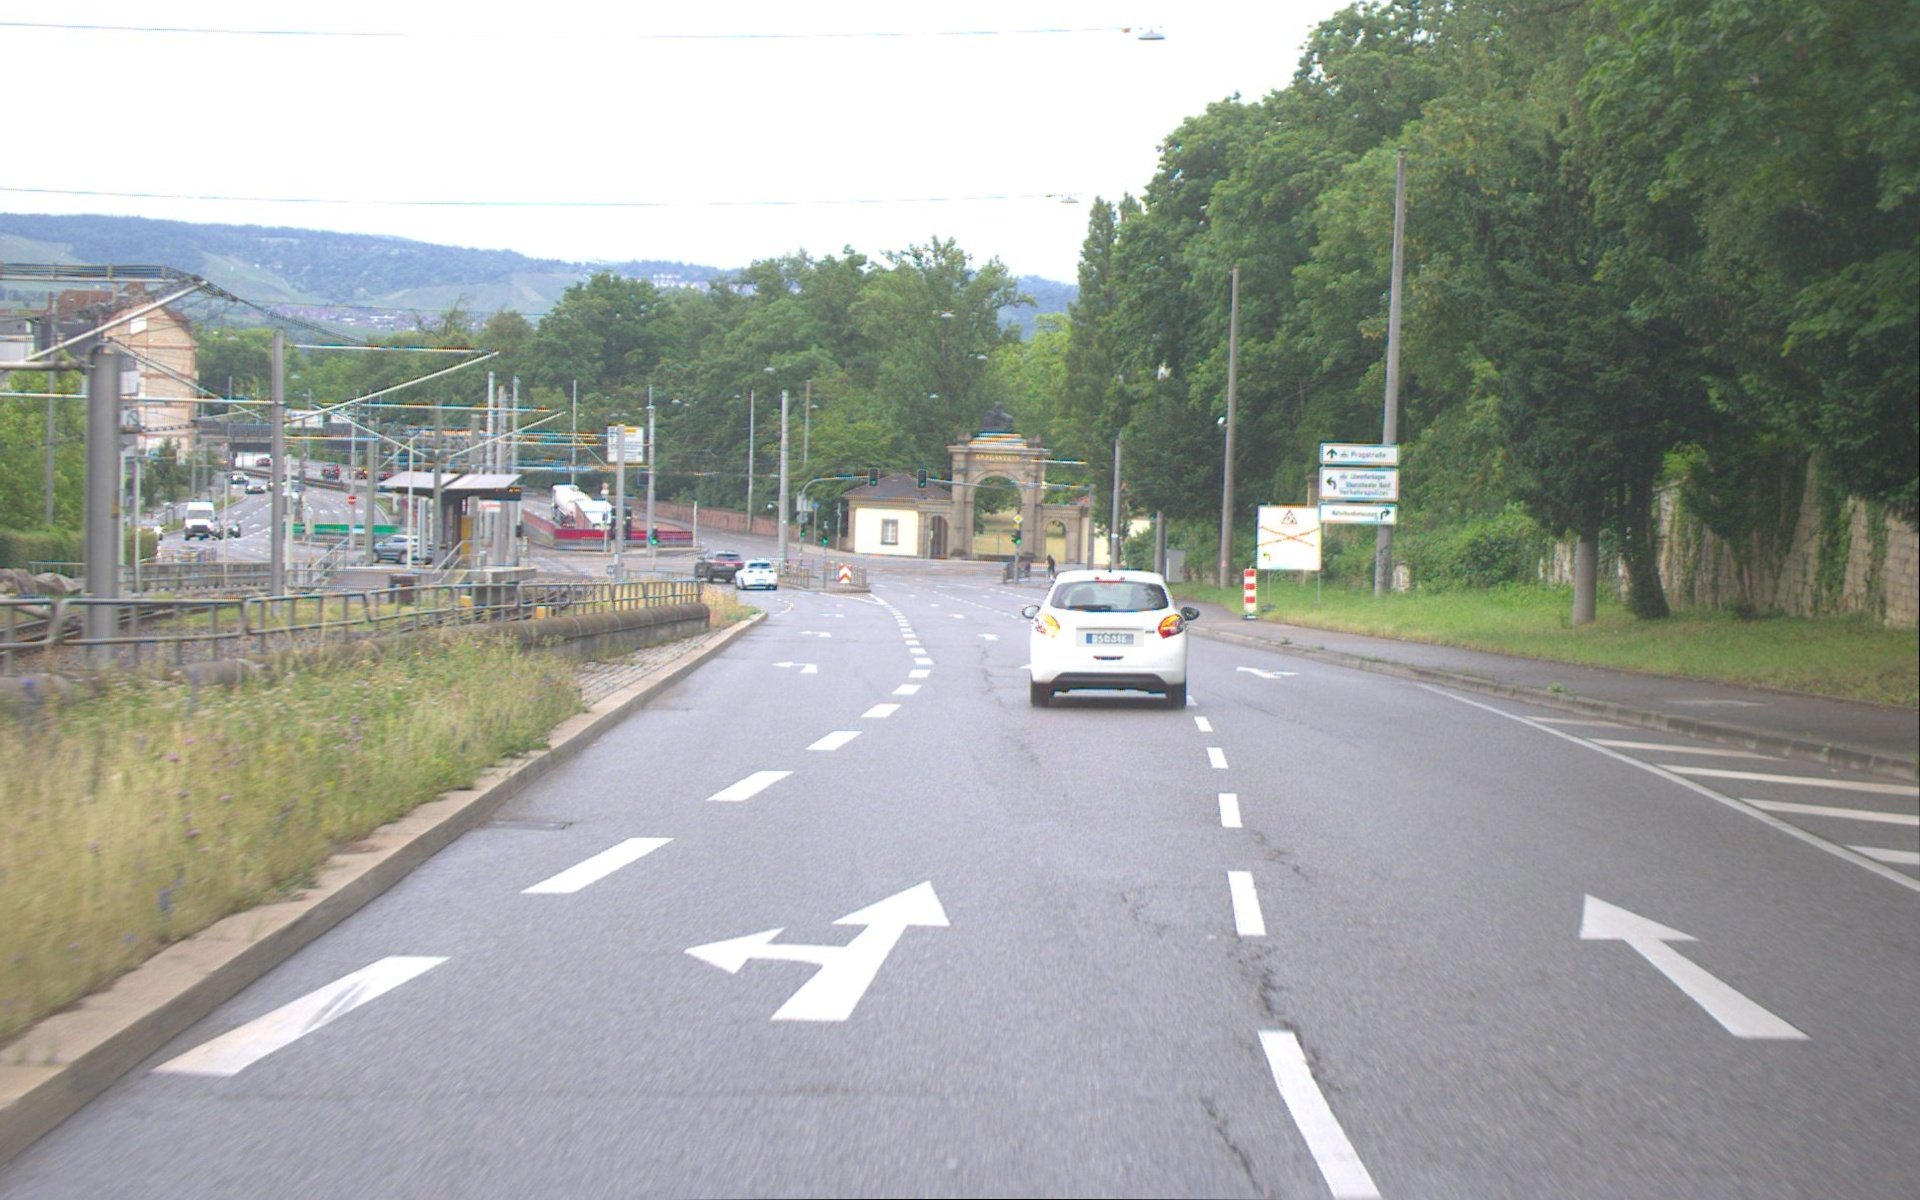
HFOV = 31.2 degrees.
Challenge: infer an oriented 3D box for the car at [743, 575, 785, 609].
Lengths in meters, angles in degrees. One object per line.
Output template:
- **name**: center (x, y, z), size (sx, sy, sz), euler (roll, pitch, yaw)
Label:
- **car**: center (-9.537, -0.397, 167.756), size (1.822, 1.600, 4.000), euler (-1, 1, 0)

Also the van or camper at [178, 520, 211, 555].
- **van or camper**: center (-52.300, -4.255, 235.004), size (1.993, 2.337, 4.001), euler (0, 0, -9)

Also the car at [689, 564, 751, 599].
- **car**: center (-12.430, -0.977, 177.842), size (1.993, 1.700, 4.001), euler (1, 1, -22)

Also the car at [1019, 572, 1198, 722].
- **car**: center (1.689, 0.474, 37.902), size (1.869, 1.505, 3.899), euler (0, 1, 4)
